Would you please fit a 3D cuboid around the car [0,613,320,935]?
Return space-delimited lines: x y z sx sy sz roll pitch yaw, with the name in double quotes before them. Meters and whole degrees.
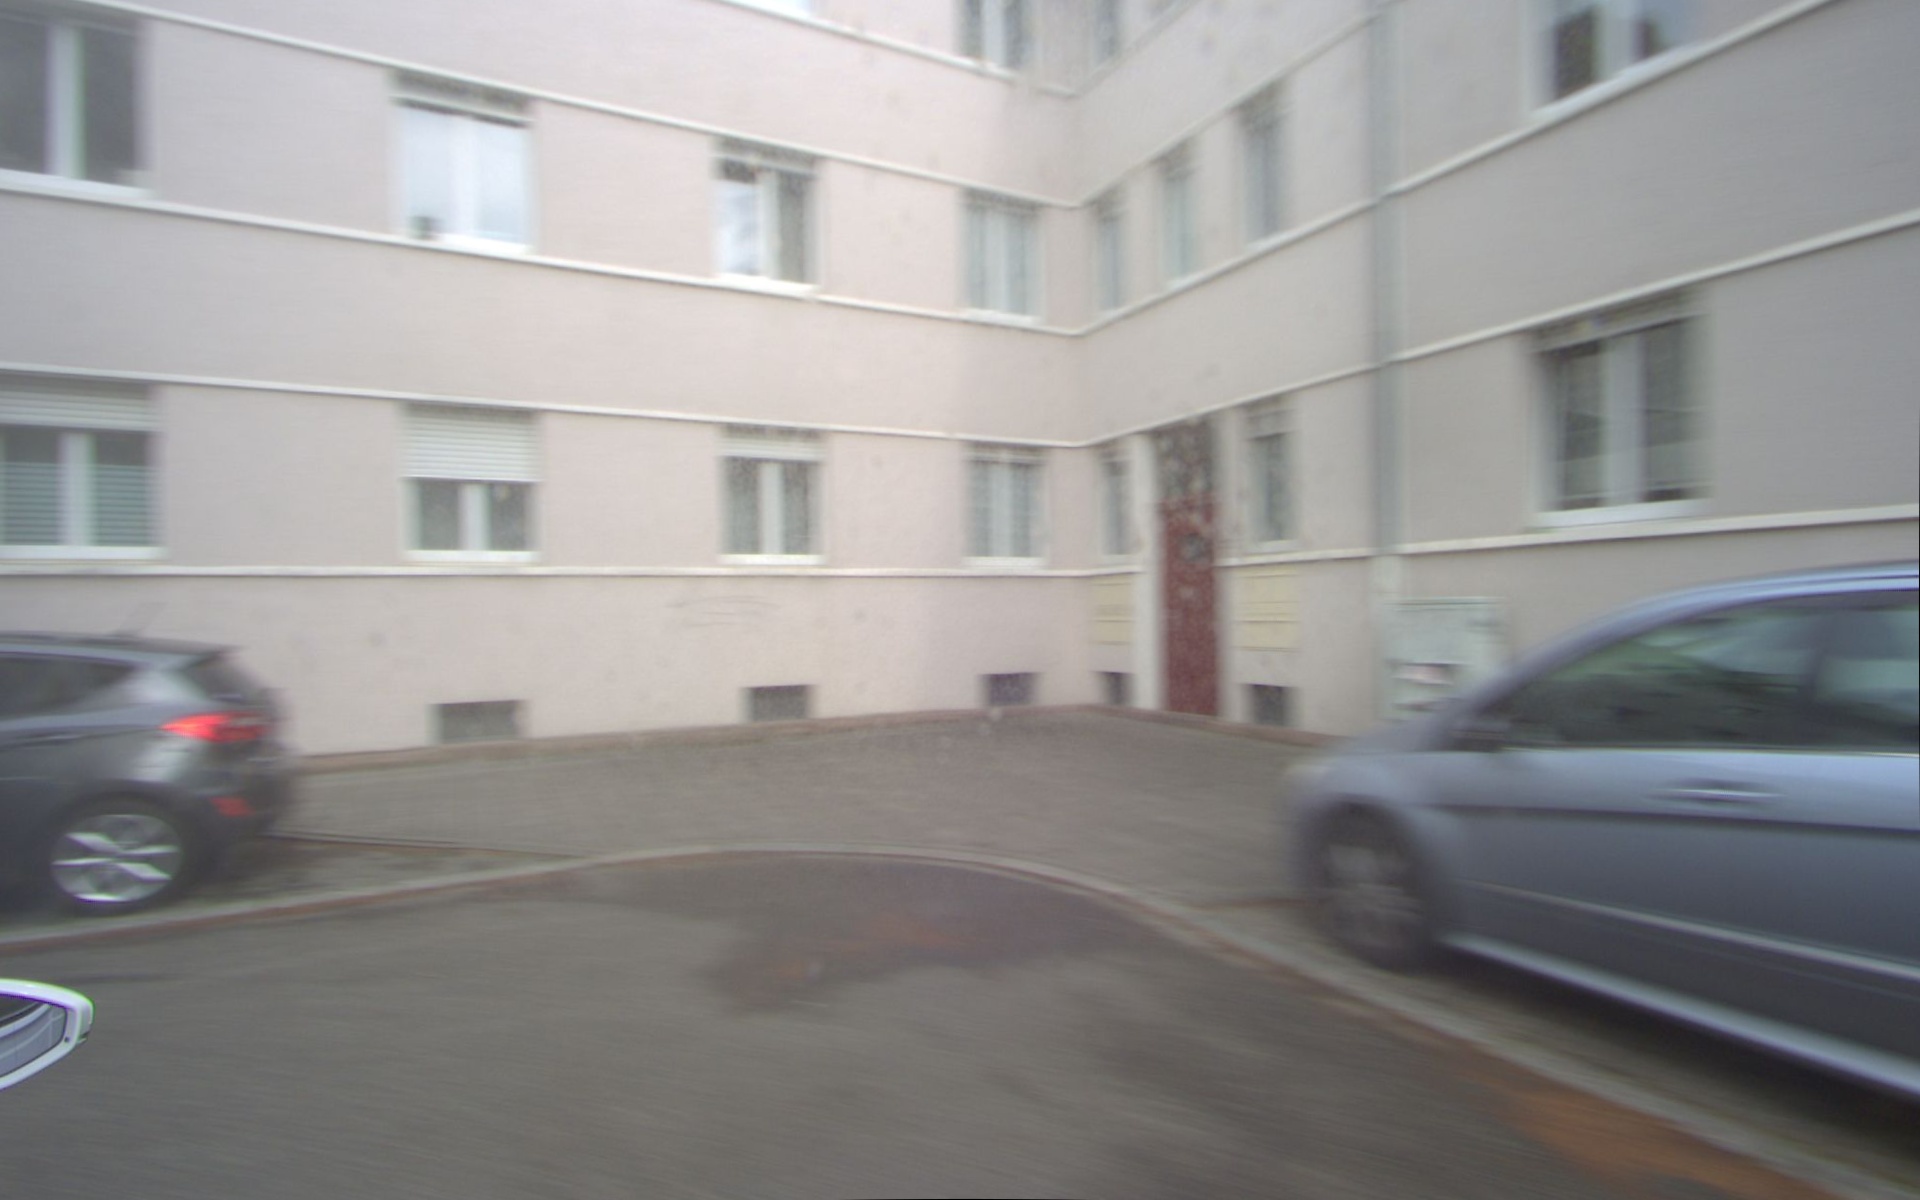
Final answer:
"car" -5.822 0.855 5.234 4.018 1.545 1.754 0 0 -29

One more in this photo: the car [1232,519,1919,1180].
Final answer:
"car" 2.970 0.633 3.341 1.734 1.649 4.186 0 -1 -24
